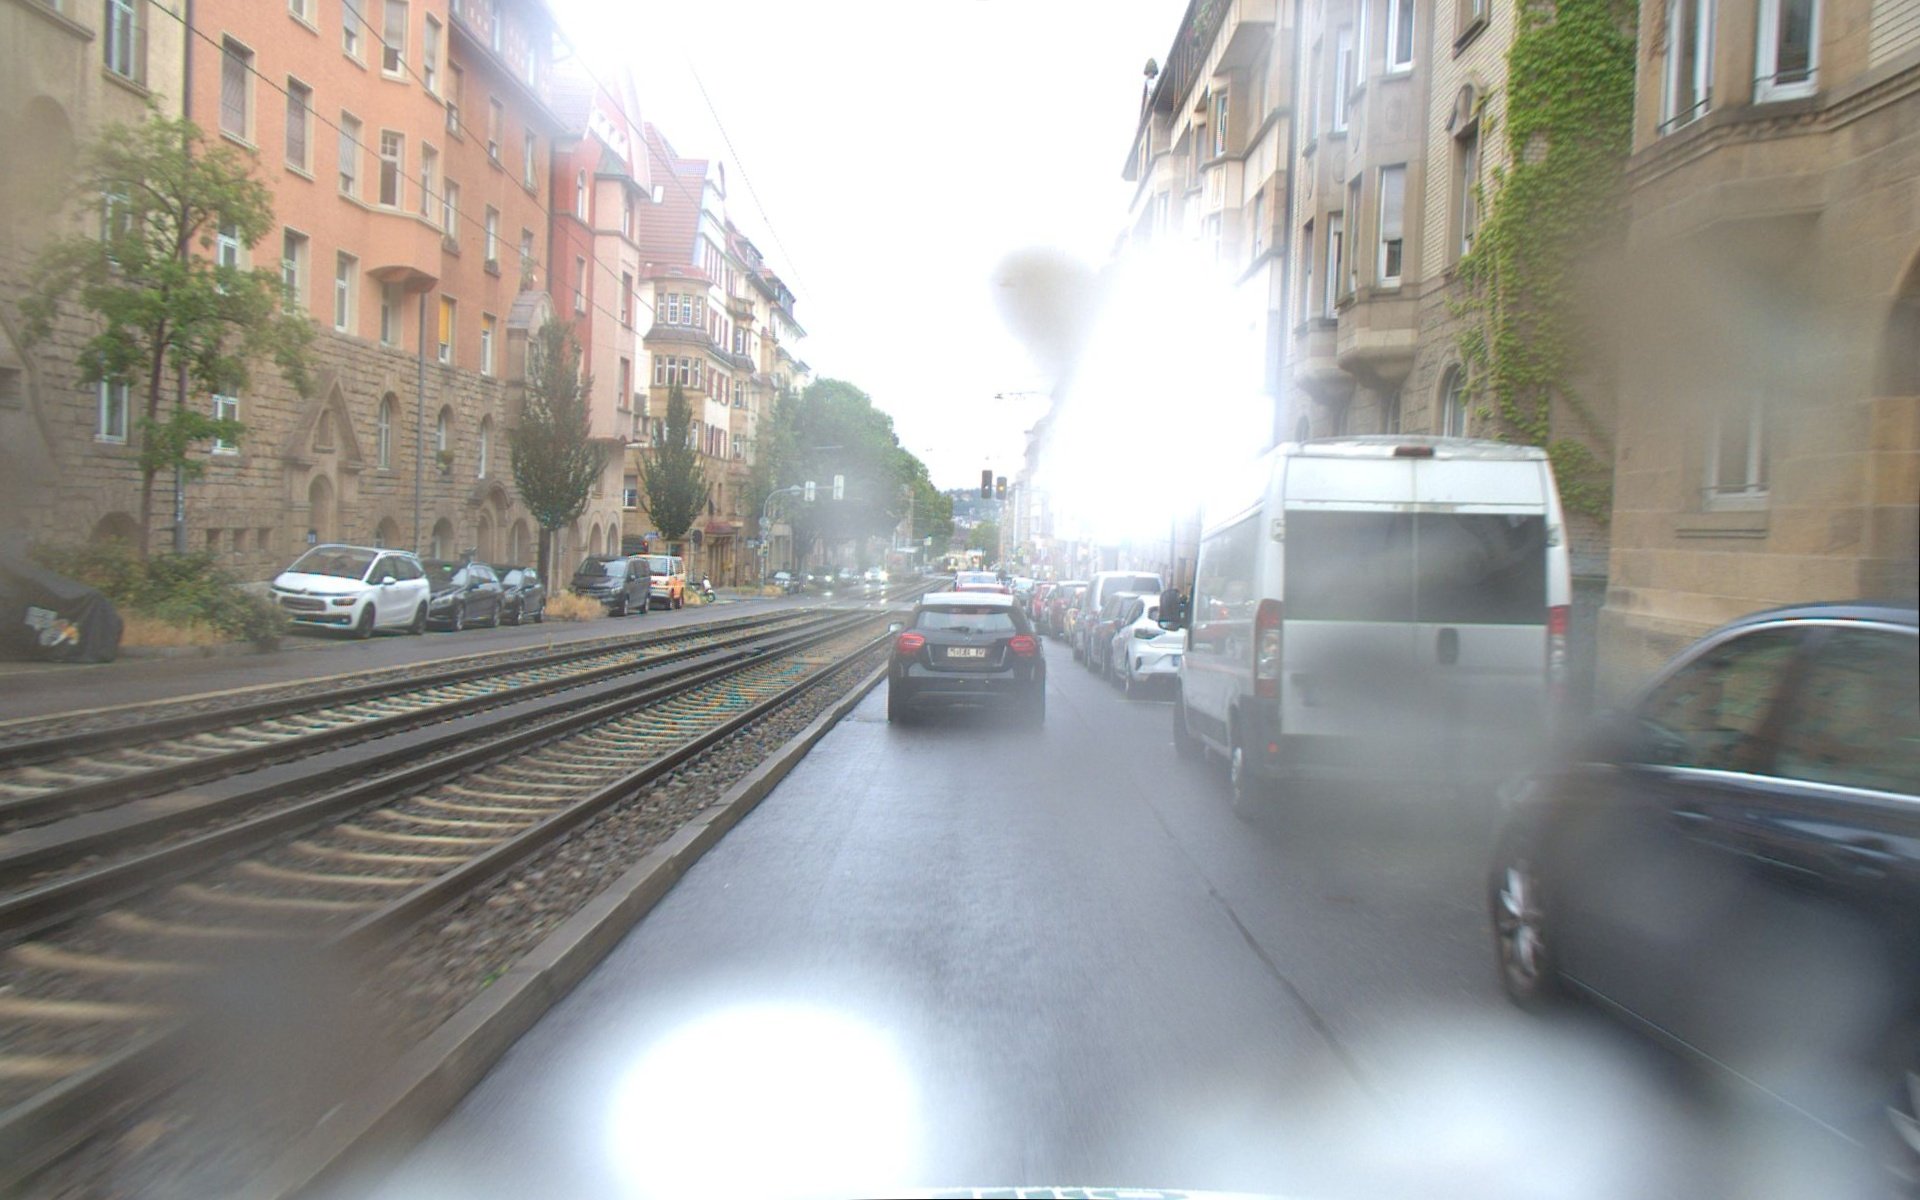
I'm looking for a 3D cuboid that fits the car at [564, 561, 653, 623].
[{"bbox_3d":[-11.511,-0.273,54.457,1.953,1.934,4.698,0,0,-1],"label":"car"}]

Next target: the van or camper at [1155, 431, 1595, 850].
[{"bbox_3d":[2.916,0.252,13.242,2.022,2.512,6.119,2,0,1],"label":"van or camper"}]

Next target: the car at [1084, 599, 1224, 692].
[{"bbox_3d":[3.330,0.746,29.121,1.953,1.466,4.000,2,0,0],"label":"car"}]

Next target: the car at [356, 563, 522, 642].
[{"bbox_3d":[-11.666,0.028,37.435,1.953,1.535,4.975,4,1,2],"label":"car"}]

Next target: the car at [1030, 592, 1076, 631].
[{"bbox_3d":[3.656,0.440,65.396,1.569,1.443,3.148,2,1,-1],"label":"car"}]

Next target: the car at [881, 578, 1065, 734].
[{"bbox_3d":[0.131,0.597,19.286,1.906,1.592,3.642,2,0,0],"label":"car"}]

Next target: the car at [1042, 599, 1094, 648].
[{"bbox_3d":[3.752,0.805,57.947,1.604,1.569,3.466,3,0,1],"label":"car"}]

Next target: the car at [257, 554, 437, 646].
[{"bbox_3d":[-11.624,-0.005,31.671,1.748,1.617,4.351,1,0,1],"label":"car"}]

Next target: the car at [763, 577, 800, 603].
[{"bbox_3d":[-10.858,-0.594,100.964,1.735,1.489,4.000,2,0,1],"label":"car"}]

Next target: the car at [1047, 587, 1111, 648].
[{"bbox_3d":[3.464,0.477,48.652,1.675,1.656,4.001,3,0,2],"label":"car"}]

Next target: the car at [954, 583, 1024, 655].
[{"bbox_3d":[0.685,0.416,39.049,1.504,1.536,4.001,3,0,1],"label":"car"}]

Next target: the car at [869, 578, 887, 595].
[{"bbox_3d":[-8.084,-1.354,163.067,1.760,1.575,3.998,1,0,-3],"label":"car"}]

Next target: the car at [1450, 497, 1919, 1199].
[{"bbox_3d":[2.956,0.729,4.770,1.732,1.839,4.482,3,0,1],"label":"car"}]

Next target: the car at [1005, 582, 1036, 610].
[{"bbox_3d":[4.164,-0.269,114.389,1.733,1.807,3.997,2,-1,-3],"label":"car"}]

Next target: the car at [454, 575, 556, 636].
[{"bbox_3d":[-11.627,0.118,42.475,1.609,1.422,3.883,3,1,-2],"label":"car"}]

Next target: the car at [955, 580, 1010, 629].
[{"bbox_3d":[0.856,0.151,61.564,1.882,1.684,4.001,3,0,2],"label":"car"}]

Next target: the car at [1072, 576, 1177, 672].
[{"bbox_3d":[3.290,0.437,33.829,1.738,1.807,4.361,1,1,1],"label":"car"}]

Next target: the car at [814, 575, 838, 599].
[{"bbox_3d":[-10.341,-1.010,127.255,1.755,1.721,3.996,2,0,-5],"label":"car"}]

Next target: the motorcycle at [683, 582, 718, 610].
[{"bbox_3d":[-11.400,-0.185,72.704,1.410,1.154,0.619,3,0,31],"label":"motorcycle"}]

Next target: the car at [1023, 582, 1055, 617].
[{"bbox_3d":[4.855,0.001,102.153,1.859,2.063,4.176,1,-1,1],"label":"car"}]

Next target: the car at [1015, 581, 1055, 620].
[{"bbox_3d":[3.205,-0.006,70.997,1.517,1.534,4.001,3,0,1],"label":"car"}]

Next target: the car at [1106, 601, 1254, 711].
[{"bbox_3d":[3.194,0.771,24.673,1.641,1.436,4.000,2,0,0],"label":"car"}]

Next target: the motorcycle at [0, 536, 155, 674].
[{"bbox_3d":[-11.736,0.051,21.282,2.223,1.671,1.287,2,0,-17],"label":"motorcycle"}]

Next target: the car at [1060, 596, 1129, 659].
[{"bbox_3d":[3.544,0.701,44.027,1.527,1.504,3.461,3,0,1],"label":"car"}]

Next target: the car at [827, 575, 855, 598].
[{"bbox_3d":[-10.392,-1.174,144.490,1.952,1.825,4.001,3,0,1],"label":"car"}]

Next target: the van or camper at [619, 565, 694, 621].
[{"bbox_3d":[-11.364,-0.264,62.279,1.953,1.934,4.698,3,0,-1],"label":"van or camper"}]

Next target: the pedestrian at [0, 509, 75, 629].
[{"bbox_3d":[-14.234,-0.475,25.207,0.986,1.784,0.924,1,1,1],"label":"pedestrian"}]

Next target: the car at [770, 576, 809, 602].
[{"bbox_3d":[-10.933,-0.687,106.288,1.952,1.544,4.001,2,0,1],"label":"car"}]
